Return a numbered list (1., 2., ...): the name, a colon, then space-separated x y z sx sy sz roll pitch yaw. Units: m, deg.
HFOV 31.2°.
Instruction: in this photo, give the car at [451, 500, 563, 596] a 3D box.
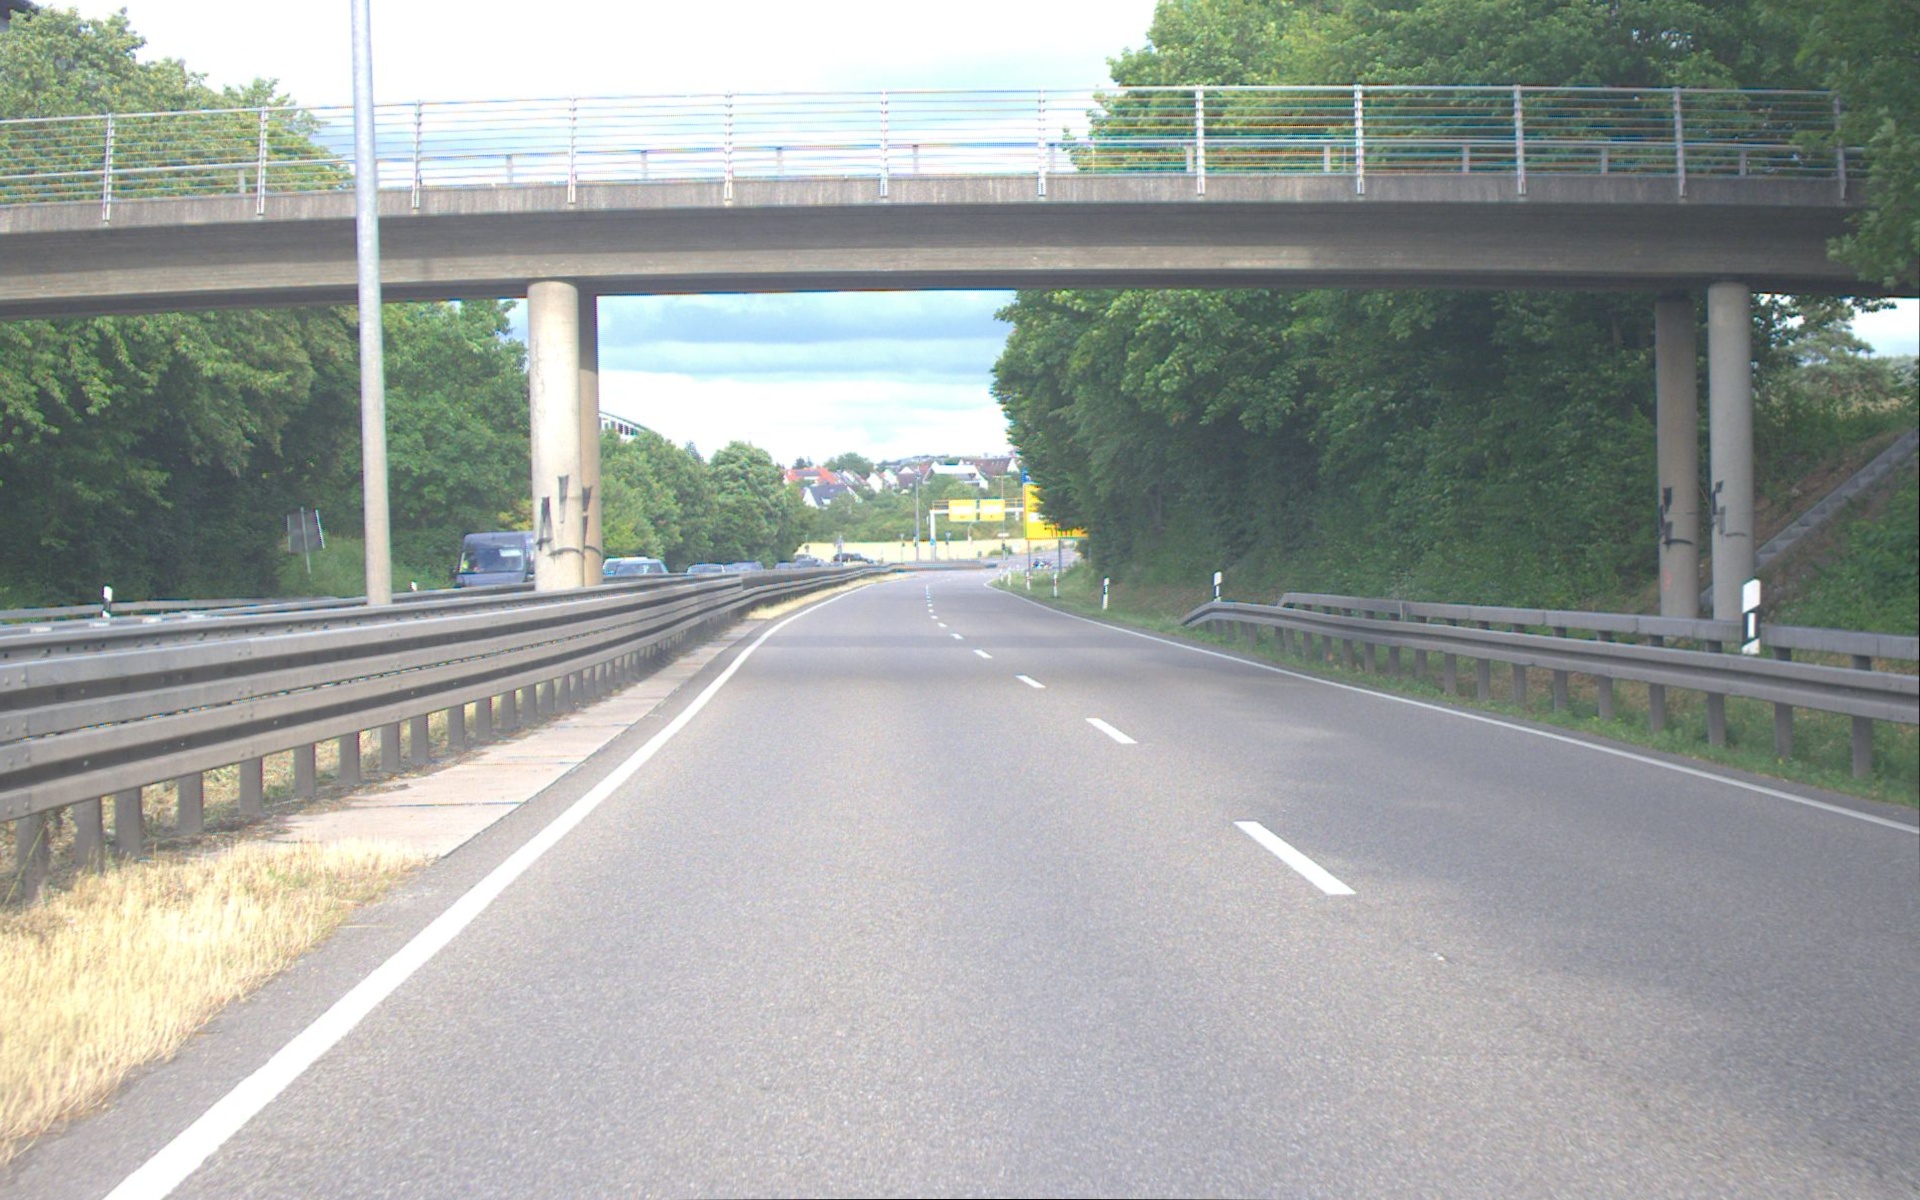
1. car: -12.455 -1.432 95.023 2.249 2.528 6.941 -1 1 -1
